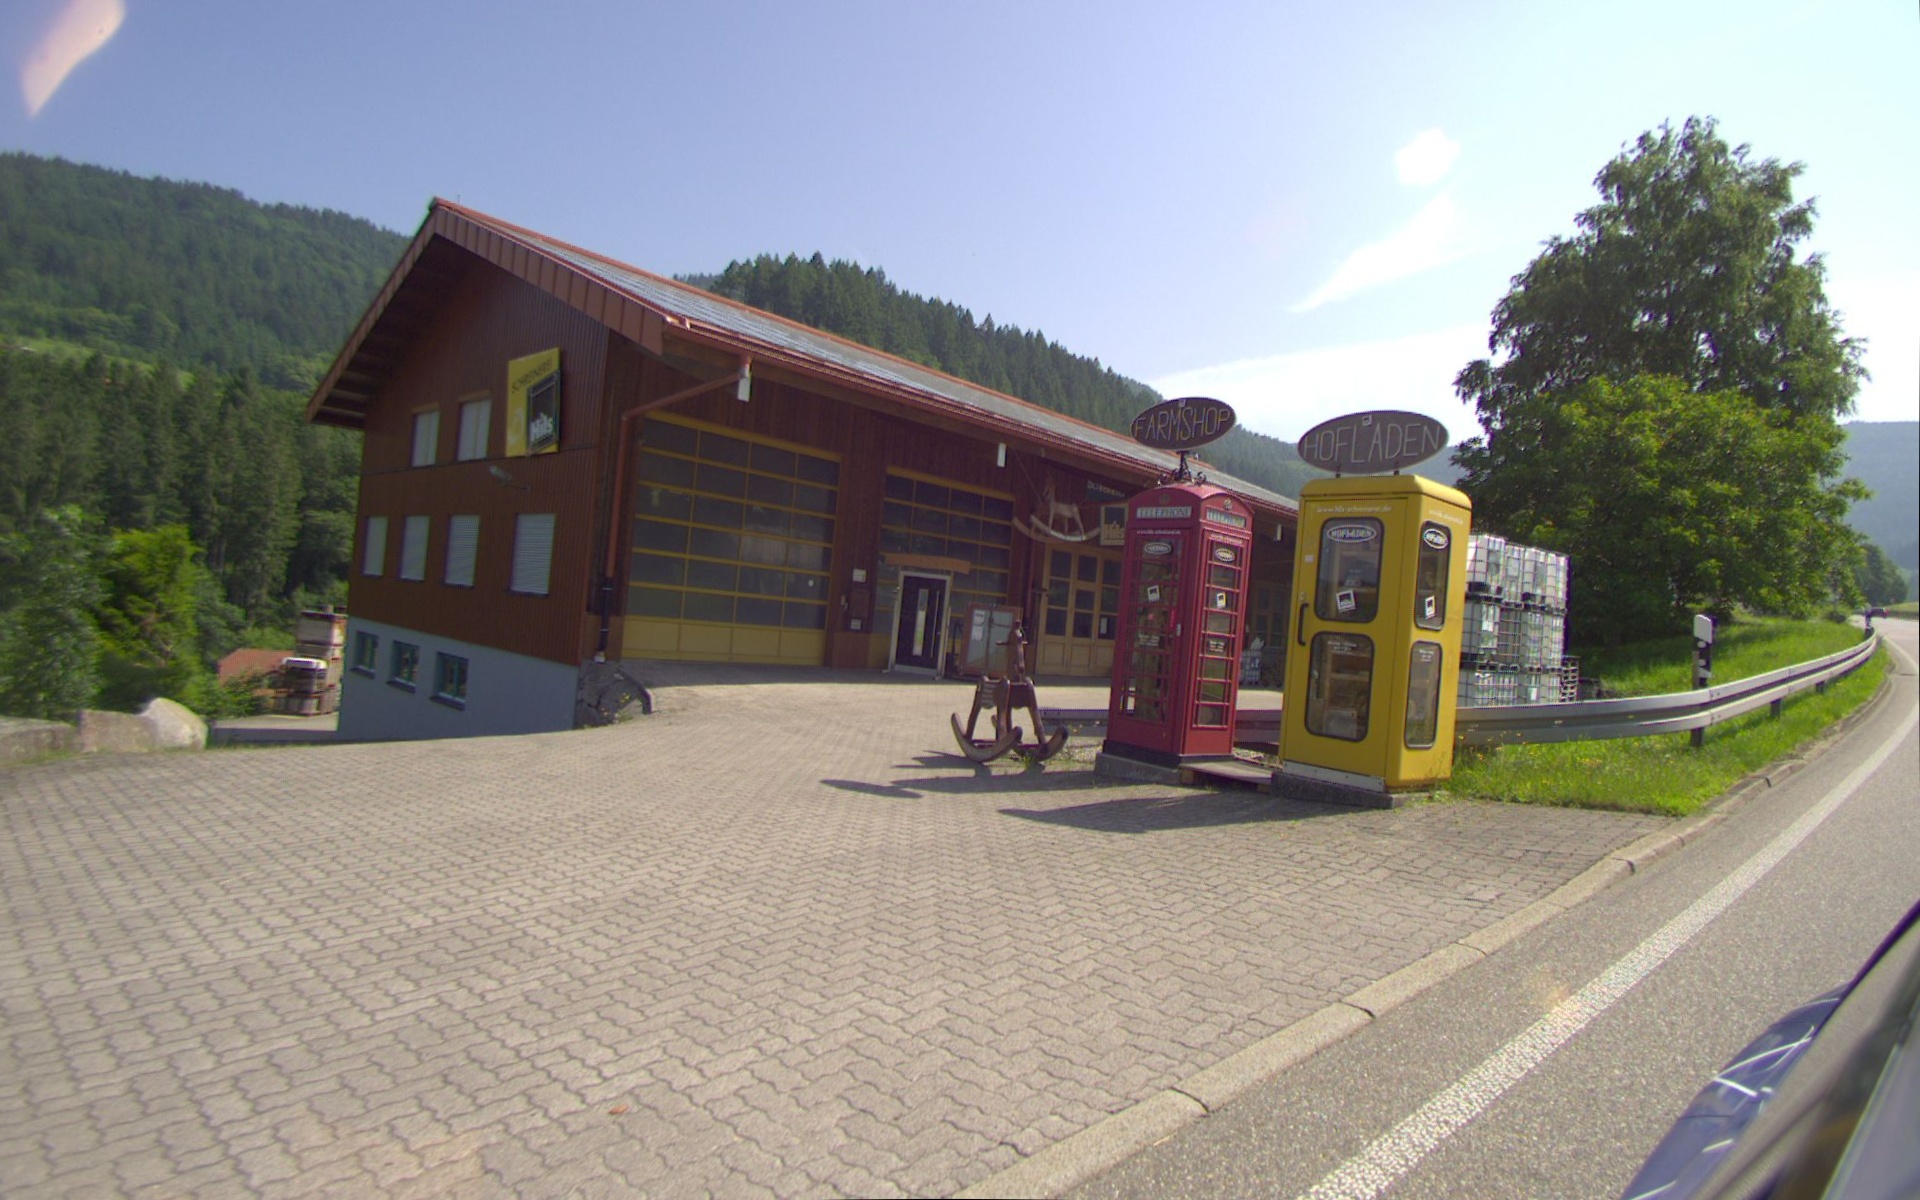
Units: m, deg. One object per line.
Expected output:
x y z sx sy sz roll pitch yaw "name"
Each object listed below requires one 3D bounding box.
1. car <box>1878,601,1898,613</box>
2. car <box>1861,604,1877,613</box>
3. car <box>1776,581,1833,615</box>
129.121 0.998 140.809 1.809 1.527 4.202 2 1 39 "car"
156.399 1.456 174.093 1.808 1.527 4.203 2 1 39 "car"
49.892 -0.119 59.759 4.582 1.835 1.812 1 3 -42 "car"
